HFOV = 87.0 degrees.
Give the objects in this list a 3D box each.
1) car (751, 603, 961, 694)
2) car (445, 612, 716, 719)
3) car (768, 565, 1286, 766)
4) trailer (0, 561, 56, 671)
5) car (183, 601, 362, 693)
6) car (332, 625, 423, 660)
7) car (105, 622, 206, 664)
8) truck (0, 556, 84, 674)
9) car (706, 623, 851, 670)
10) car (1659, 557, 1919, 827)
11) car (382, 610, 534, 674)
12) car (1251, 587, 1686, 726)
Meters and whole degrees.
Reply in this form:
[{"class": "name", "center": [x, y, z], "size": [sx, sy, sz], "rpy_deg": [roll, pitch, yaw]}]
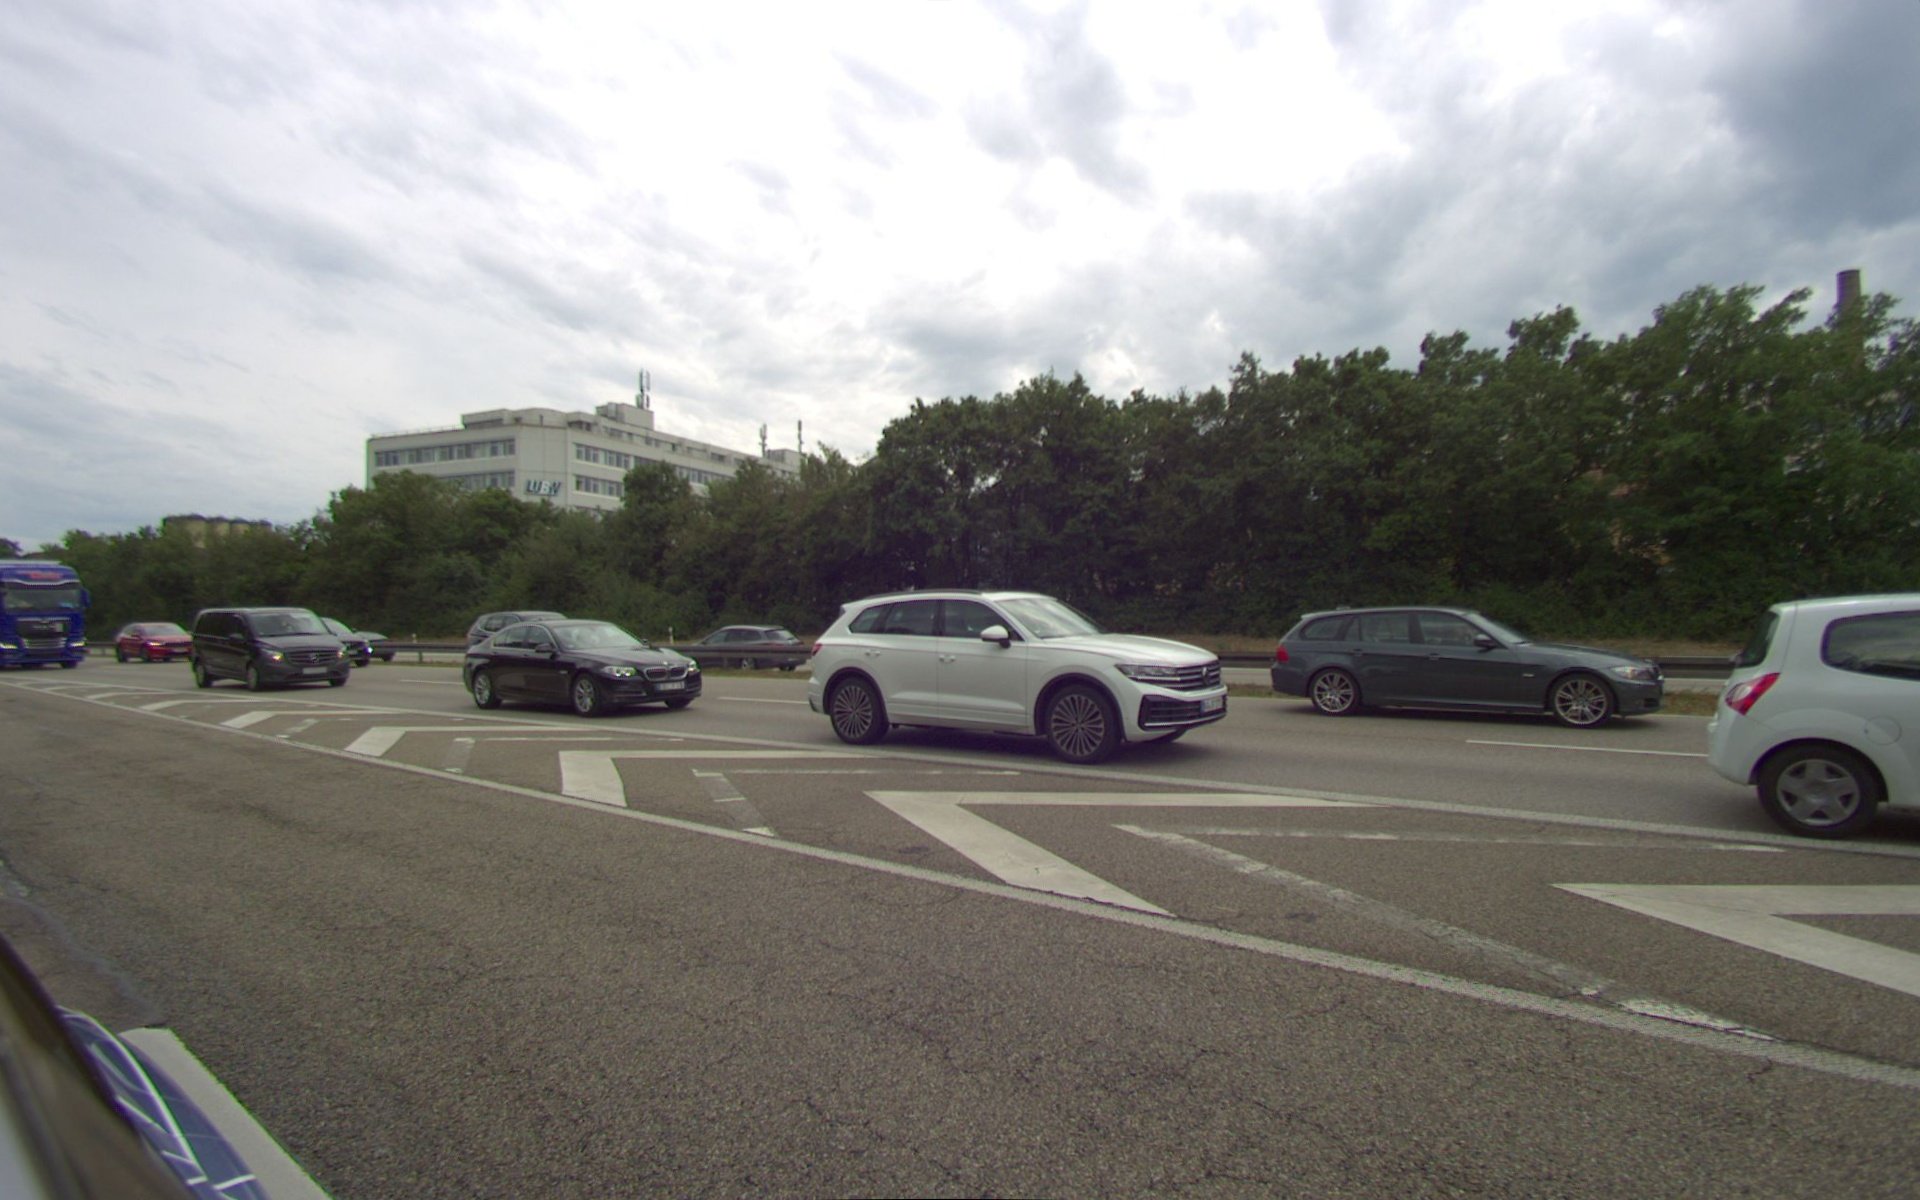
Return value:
[{"class": "car", "center": [-2.082, 0.914, 19.767], "size": [3.990, 1.624, 1.631], "rpy_deg": [-2, -1, 35]}, {"class": "car", "center": [-6.272, 0.960, 16.472], "size": [4.823, 1.471, 1.830], "rpy_deg": [-1, 0, 37]}, {"class": "car", "center": [0.499, 0.604, 10.826], "size": [5.370, 1.673, 1.893], "rpy_deg": [-1, -1, 37]}, {"class": "trailer", "center": [-41.000, 0.665, 41.192], "size": [13.418, 4.053, 2.607], "rpy_deg": [-1, 0, 32]}, {"class": "car", "center": [-16.345, 1.072, 23.959], "size": [5.070, 1.920, 1.975], "rpy_deg": [-2, 0, 37]}, {"class": "car", "center": [-25.597, 1.888, 44.463], "size": [3.990, 1.418, 1.976], "rpy_deg": [-3, -4, 35]}, {"class": "car", "center": [-33.223, 1.768, 41.753], "size": [4.776, 1.630, 1.977], "rpy_deg": [-2, -1, 35]}, {"class": "truck", "center": [-35.370, 0.530, 37.477], "size": [6.566, 4.073, 2.542], "rpy_deg": [-1, 0, 32]}, {"class": "car", "center": [-5.262, 1.316, 29.123], "size": [4.070, 1.242, 1.807], "rpy_deg": [-2, -1, 36]}, {"class": "car", "center": [6.477, 0.497, 5.724], "size": [4.031, 1.502, 1.562], "rpy_deg": [-2, -1, 39]}, {"class": "car", "center": [-13.923, 1.124, 27.978], "size": [4.642, 1.625, 1.844], "rpy_deg": [-1, -1, 36]}, {"class": "car", "center": [6.277, 0.616, 12.834], "size": [4.695, 1.459, 1.697], "rpy_deg": [-1, 0, 39]}]
